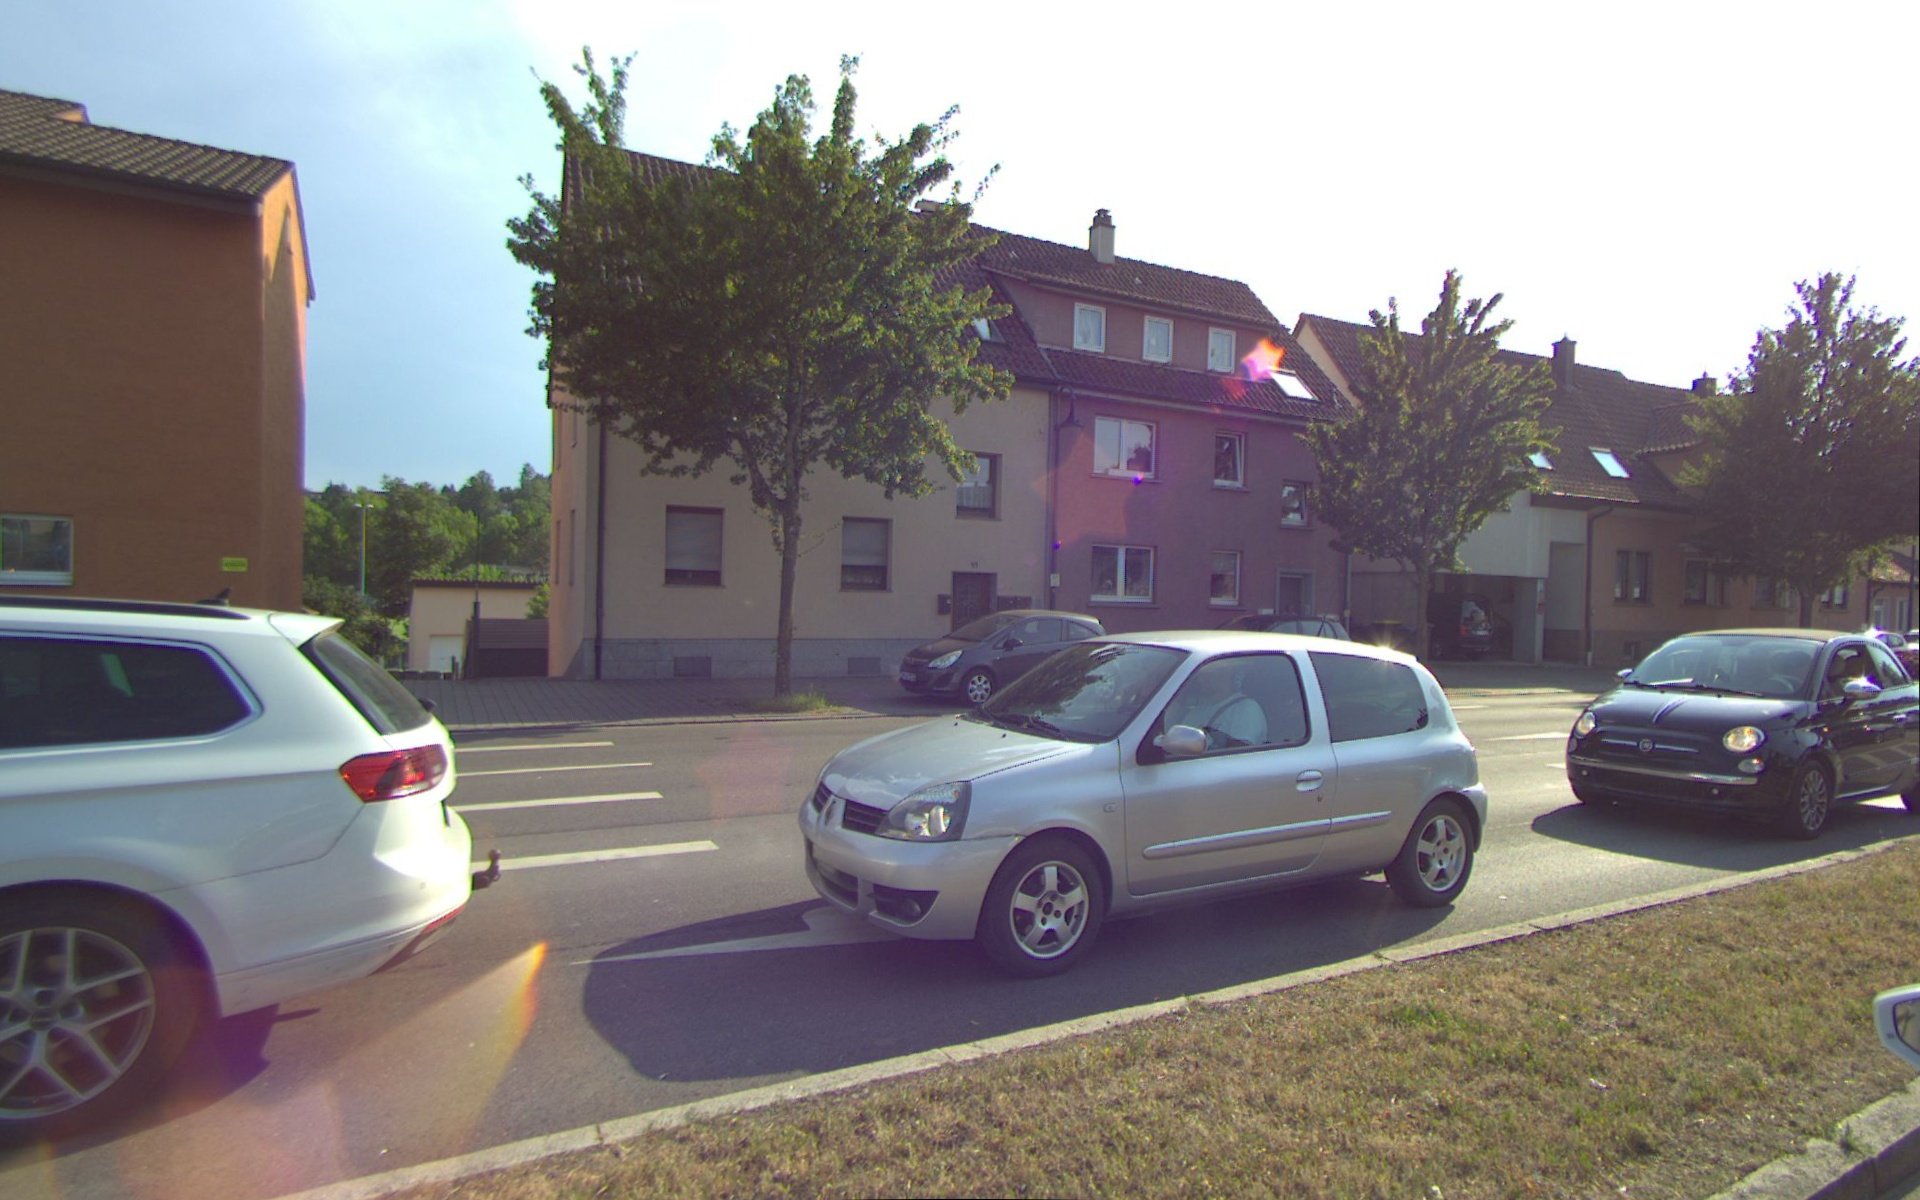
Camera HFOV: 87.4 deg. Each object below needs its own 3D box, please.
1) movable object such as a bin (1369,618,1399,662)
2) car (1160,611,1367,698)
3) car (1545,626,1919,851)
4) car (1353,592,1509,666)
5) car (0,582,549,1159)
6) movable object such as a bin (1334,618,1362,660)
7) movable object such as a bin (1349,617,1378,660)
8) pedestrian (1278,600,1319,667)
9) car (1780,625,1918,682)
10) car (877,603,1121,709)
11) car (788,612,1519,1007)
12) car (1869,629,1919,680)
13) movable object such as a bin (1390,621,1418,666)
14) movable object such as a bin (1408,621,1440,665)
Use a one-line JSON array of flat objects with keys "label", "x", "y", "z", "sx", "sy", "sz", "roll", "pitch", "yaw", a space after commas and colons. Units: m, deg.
[{"label": "movable object such as a bin", "x": 11.342, "y": 1.075, "z": 26.878, "sx": 0.534, "sy": 1.152, "sz": 0.507, "roll": 1, "pitch": 0, "yaw": -29}, {"label": "car", "x": 5.984, "y": 0.999, "z": 19.673, "sx": 4.086, "sy": 1.530, "sz": 1.610, "roll": 1, "pitch": 0, "yaw": -32}, {"label": "car", "x": 6.598, "y": 0.972, "z": 8.273, "sx": 3.463, "sy": 1.481, "sz": 1.525, "roll": 1, "pitch": 0, "yaw": -29}, {"label": "car", "x": 13.668, "y": 0.787, "z": 29.389, "sx": 1.756, "sy": 1.906, "sz": 3.806, "roll": 1, "pitch": 1, "yaw": -27}, {"label": "car", "x": -3.750, "y": 0.696, "z": 2.952, "sx": 4.512, "sy": 1.508, "sz": 1.826, "roll": 1, "pitch": 0, "yaw": -30}, {"label": "movable object such as a bin", "x": 10.797, "y": 1.076, "z": 27.977, "sx": 0.534, "sy": 1.152, "sz": 0.507, "roll": 1, "pitch": 0, "yaw": -29}, {"label": "movable object such as a bin", "x": 11.050, "y": 1.043, "z": 27.482, "sx": 0.534, "sy": 1.152, "sz": 0.507, "roll": 1, "pitch": 0, "yaw": -29}, {"label": "pedestrian", "x": 8.455, "y": 0.826, "z": 25.103, "sx": 0.763, "sy": 1.629, "sz": 0.722, "roll": 1, "pitch": 2, "yaw": 0}, {"label": "car", "x": 27.069, "y": 1.613, "z": 30.593, "sx": 3.946, "sy": 1.507, "sz": 1.660, "roll": 1, "pitch": 2, "yaw": -25}, {"label": "car", "x": 0.686, "y": 0.862, "z": 16.658, "sx": 3.841, "sy": 1.531, "sz": 1.504, "roll": 1, "pitch": 2, "yaw": -31}, {"label": "car", "x": 1.056, "y": 0.825, "z": 5.236, "sx": 3.533, "sy": 1.446, "sz": 1.583, "roll": 2, "pitch": -1, "yaw": -28}, {"label": "car", "x": 31.760, "y": 1.772, "z": 32.766, "sx": 3.947, "sy": 1.499, "sz": 1.749, "roll": 1, "pitch": 3, "yaw": -26}, {"label": "movable object such as a bin", "x": 11.684, "y": 1.135, "z": 26.435, "sx": 0.494, "sy": 1.152, "sz": 0.473, "roll": 1, "pitch": 0, "yaw": -29}, {"label": "movable object such as a bin", "x": 12.542, "y": 1.162, "z": 27.144, "sx": 0.570, "sy": 1.158, "sz": 0.562, "roll": 1, "pitch": 0, "yaw": -35}]
